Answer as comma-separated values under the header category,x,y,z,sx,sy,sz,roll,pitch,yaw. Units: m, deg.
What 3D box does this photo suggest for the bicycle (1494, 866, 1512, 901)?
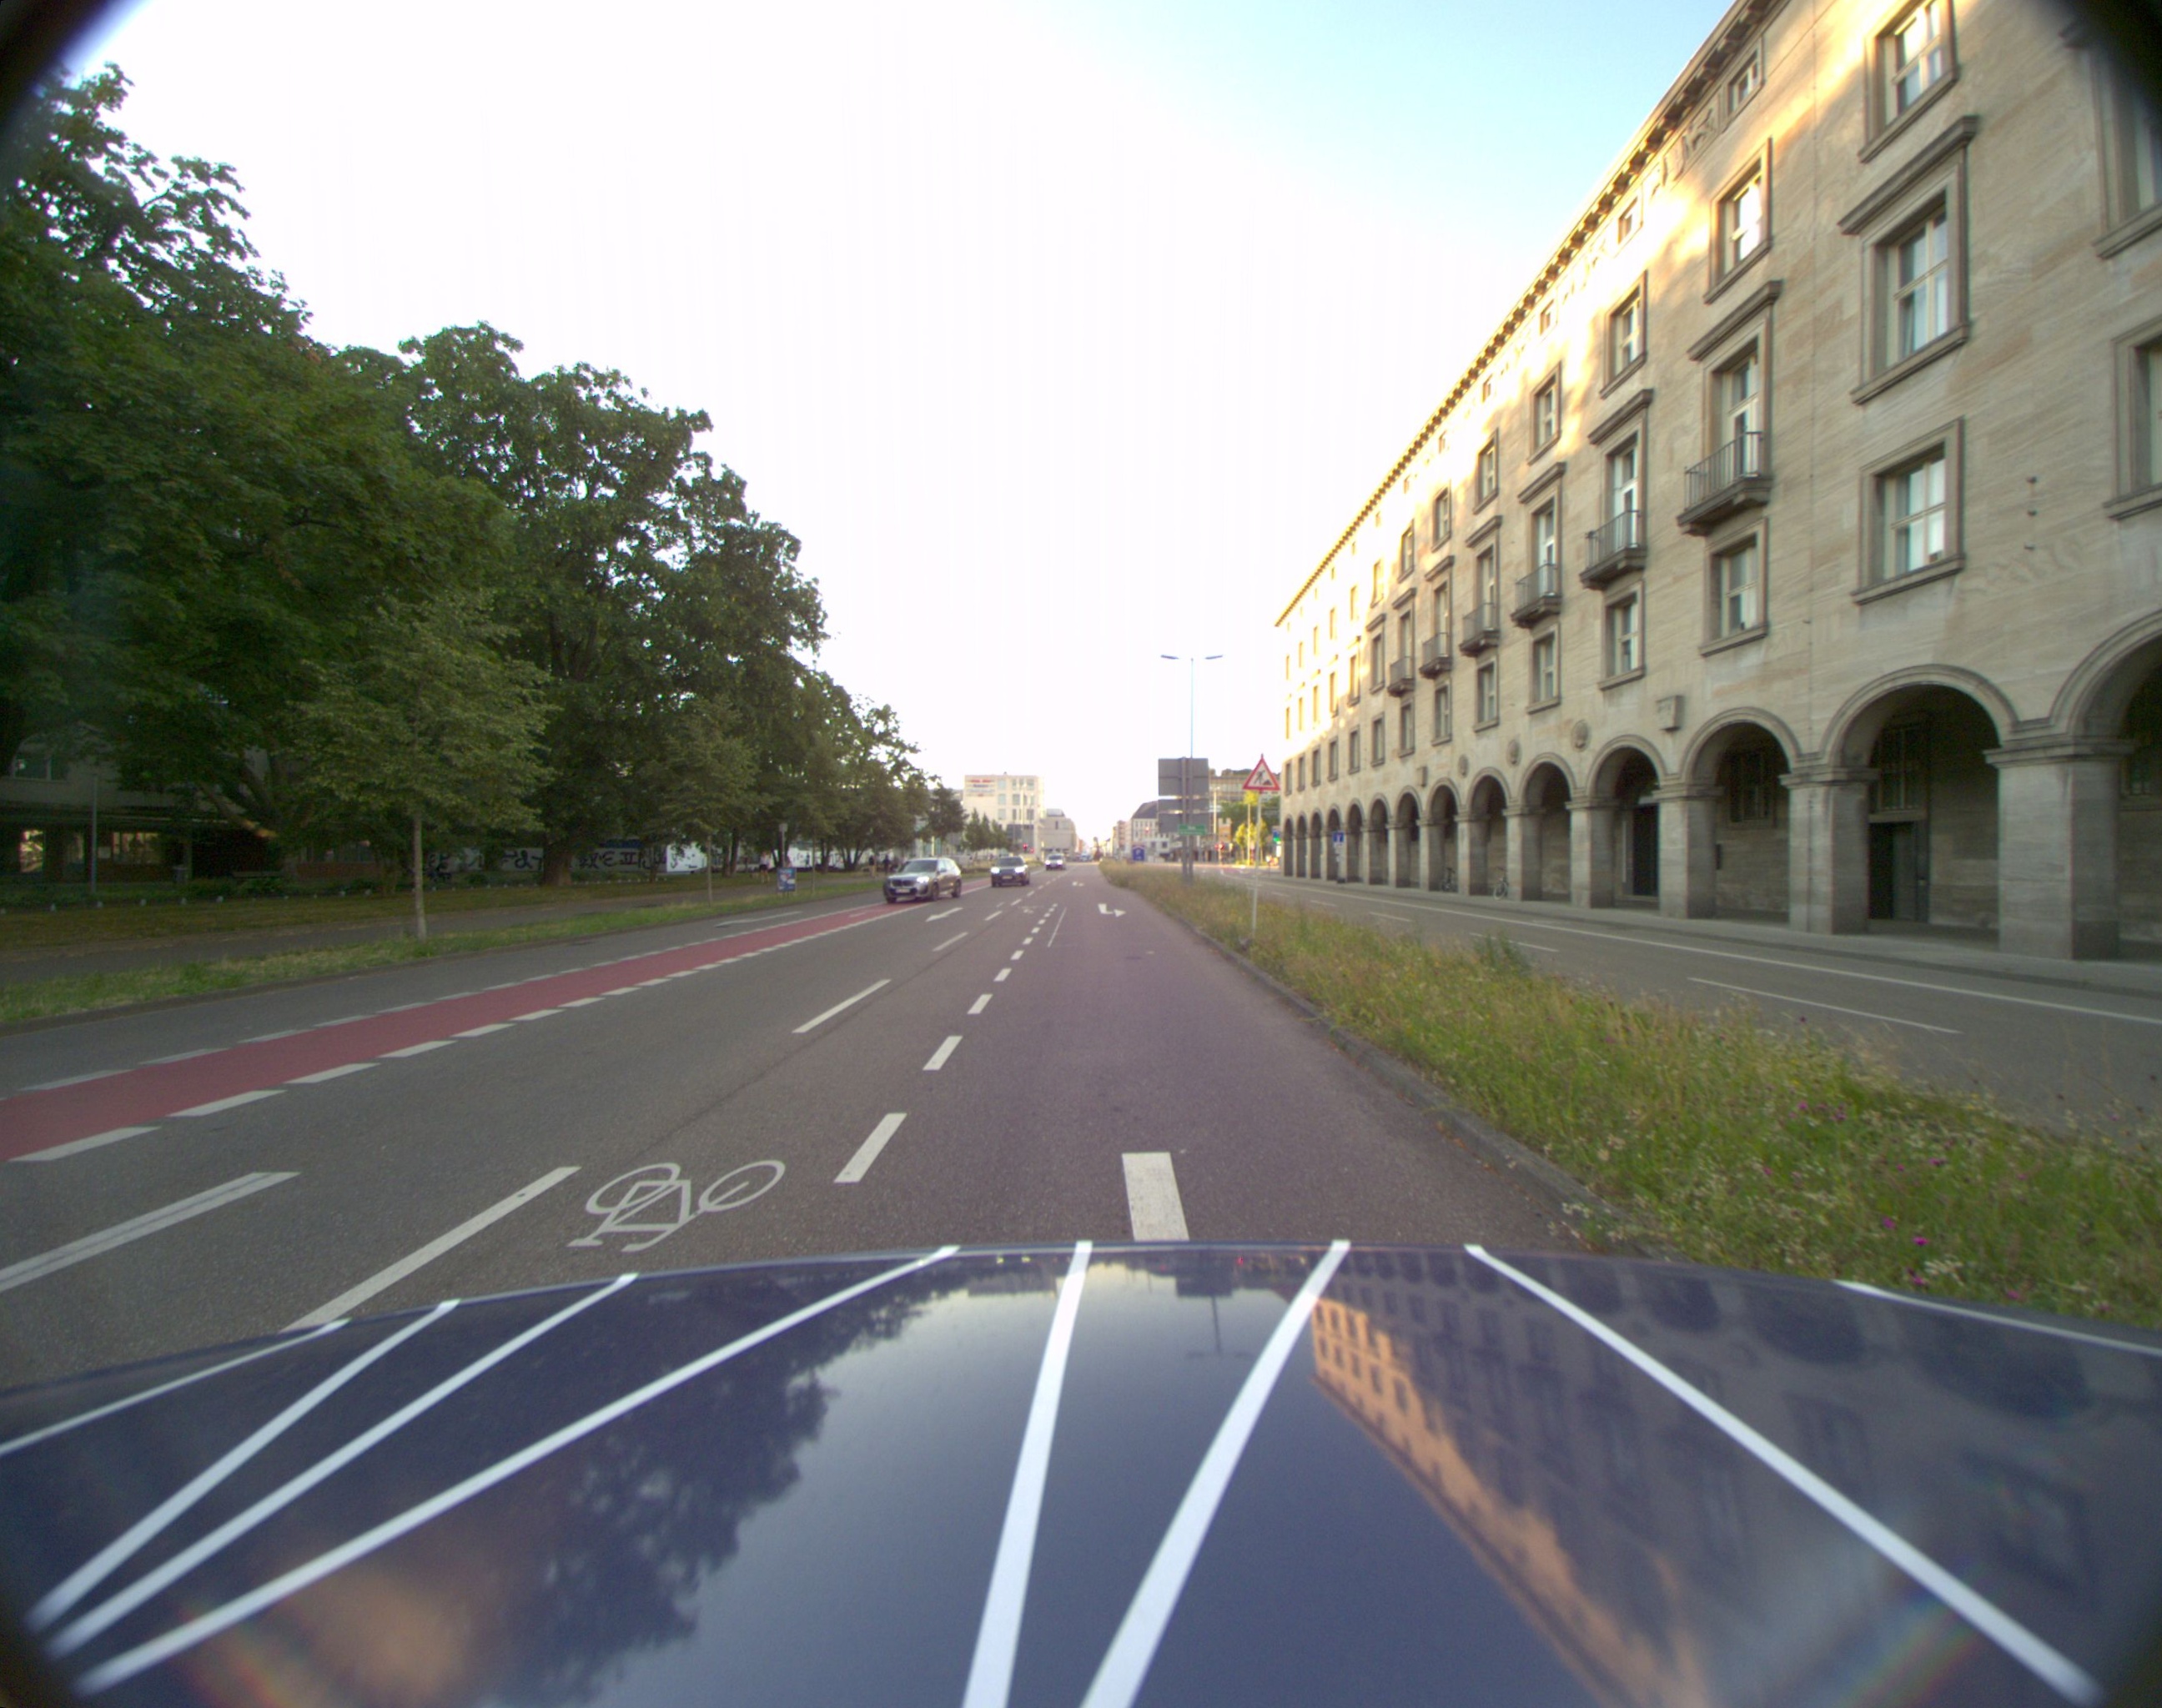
category,x,y,z,sx,sy,sz,roll,pitch,yaw
bicycle,15.319,1.047,27.555,0.513,1.115,2.427,0,1,30

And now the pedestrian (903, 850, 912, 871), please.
category,x,y,z,sx,sy,sz,roll,pitch,yaw
pedestrian,-14.334,0.540,62.740,0.509,1.720,0.719,0,1,1

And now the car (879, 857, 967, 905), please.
category,x,y,z,sx,sy,sz,roll,pitch,yaw
car,-5.893,0.957,28.966,1.825,1.612,4.339,-2,0,9

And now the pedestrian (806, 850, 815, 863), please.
category,x,y,z,sx,sy,sz,roll,pitch,yaw
pedestrian,-27.376,0.250,76.950,0.631,1.347,0.681,0,1,1

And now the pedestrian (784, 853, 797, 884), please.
category,x,y,z,sx,sy,sz,roll,pitch,yaw
pedestrian,-15.258,0.764,39.911,0.500,1.592,0.365,0,1,1

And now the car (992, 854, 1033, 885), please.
category,x,y,z,sx,sy,sz,roll,pitch,yaw
car,-3.688,0.796,41.391,1.782,1.617,4.215,-1,0,1

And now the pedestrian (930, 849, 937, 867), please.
category,x,y,z,sx,sy,sz,roll,pitch,yaw
pedestrian,-14.673,0.394,75.511,0.638,1.747,0.506,0,1,1

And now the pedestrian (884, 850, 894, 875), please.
category,x,y,z,sx,sy,sz,roll,pitch,yaw
pedestrian,-13.504,0.603,53.419,0.558,1.729,0.555,0,1,1

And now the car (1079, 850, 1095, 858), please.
category,x,y,z,sx,sy,sz,roll,pitch,yaw
car,1.736,-0.080,218.237,1.994,2.297,5.100,0,0,31

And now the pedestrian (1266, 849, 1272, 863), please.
category,x,y,z,sx,sy,sz,roll,pitch,yaw
pedestrian,23.765,0.259,95.863,0.638,1.747,0.506,0,1,1

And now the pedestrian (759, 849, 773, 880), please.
category,x,y,z,sx,sy,sz,roll,pitch,yaw
pedestrian,-16.463,0.553,39.676,0.500,1.592,0.522,0,1,1

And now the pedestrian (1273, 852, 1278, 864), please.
category,x,y,z,sx,sy,sz,roll,pitch,yaw
pedestrian,24.545,0.544,95.682,0.526,1.532,0.390,0,1,1

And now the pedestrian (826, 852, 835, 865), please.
category,x,y,z,sx,sy,sz,roll,pitch,yaw
pedestrian,-25.577,0.496,77.637,0.662,1.347,0.559,0,1,1

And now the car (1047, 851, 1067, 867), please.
category,x,y,z,sx,sy,sz,roll,pitch,yaw
car,-2.540,0.547,81.100,1.781,1.676,4.216,0,0,4

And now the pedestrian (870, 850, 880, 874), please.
category,x,y,z,sx,sy,sz,roll,pitch,yaw
pedestrian,-15.108,0.602,55.658,0.509,1.720,0.719,0,1,1

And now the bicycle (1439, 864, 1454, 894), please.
category,x,y,z,sx,sy,sz,roll,pitch,yaw
bicycle,15.488,1.034,32.190,0.513,1.172,2.427,0,0,25

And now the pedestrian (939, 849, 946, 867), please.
category,x,y,z,sx,sy,sz,roll,pitch,yaw
pedestrian,-13.728,0.383,75.398,0.638,1.747,0.506,0,1,1

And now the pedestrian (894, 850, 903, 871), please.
category,x,y,z,sx,sy,sz,roll,pitch,yaw
pedestrian,-15.091,0.558,62.821,0.519,1.720,0.719,0,1,1
